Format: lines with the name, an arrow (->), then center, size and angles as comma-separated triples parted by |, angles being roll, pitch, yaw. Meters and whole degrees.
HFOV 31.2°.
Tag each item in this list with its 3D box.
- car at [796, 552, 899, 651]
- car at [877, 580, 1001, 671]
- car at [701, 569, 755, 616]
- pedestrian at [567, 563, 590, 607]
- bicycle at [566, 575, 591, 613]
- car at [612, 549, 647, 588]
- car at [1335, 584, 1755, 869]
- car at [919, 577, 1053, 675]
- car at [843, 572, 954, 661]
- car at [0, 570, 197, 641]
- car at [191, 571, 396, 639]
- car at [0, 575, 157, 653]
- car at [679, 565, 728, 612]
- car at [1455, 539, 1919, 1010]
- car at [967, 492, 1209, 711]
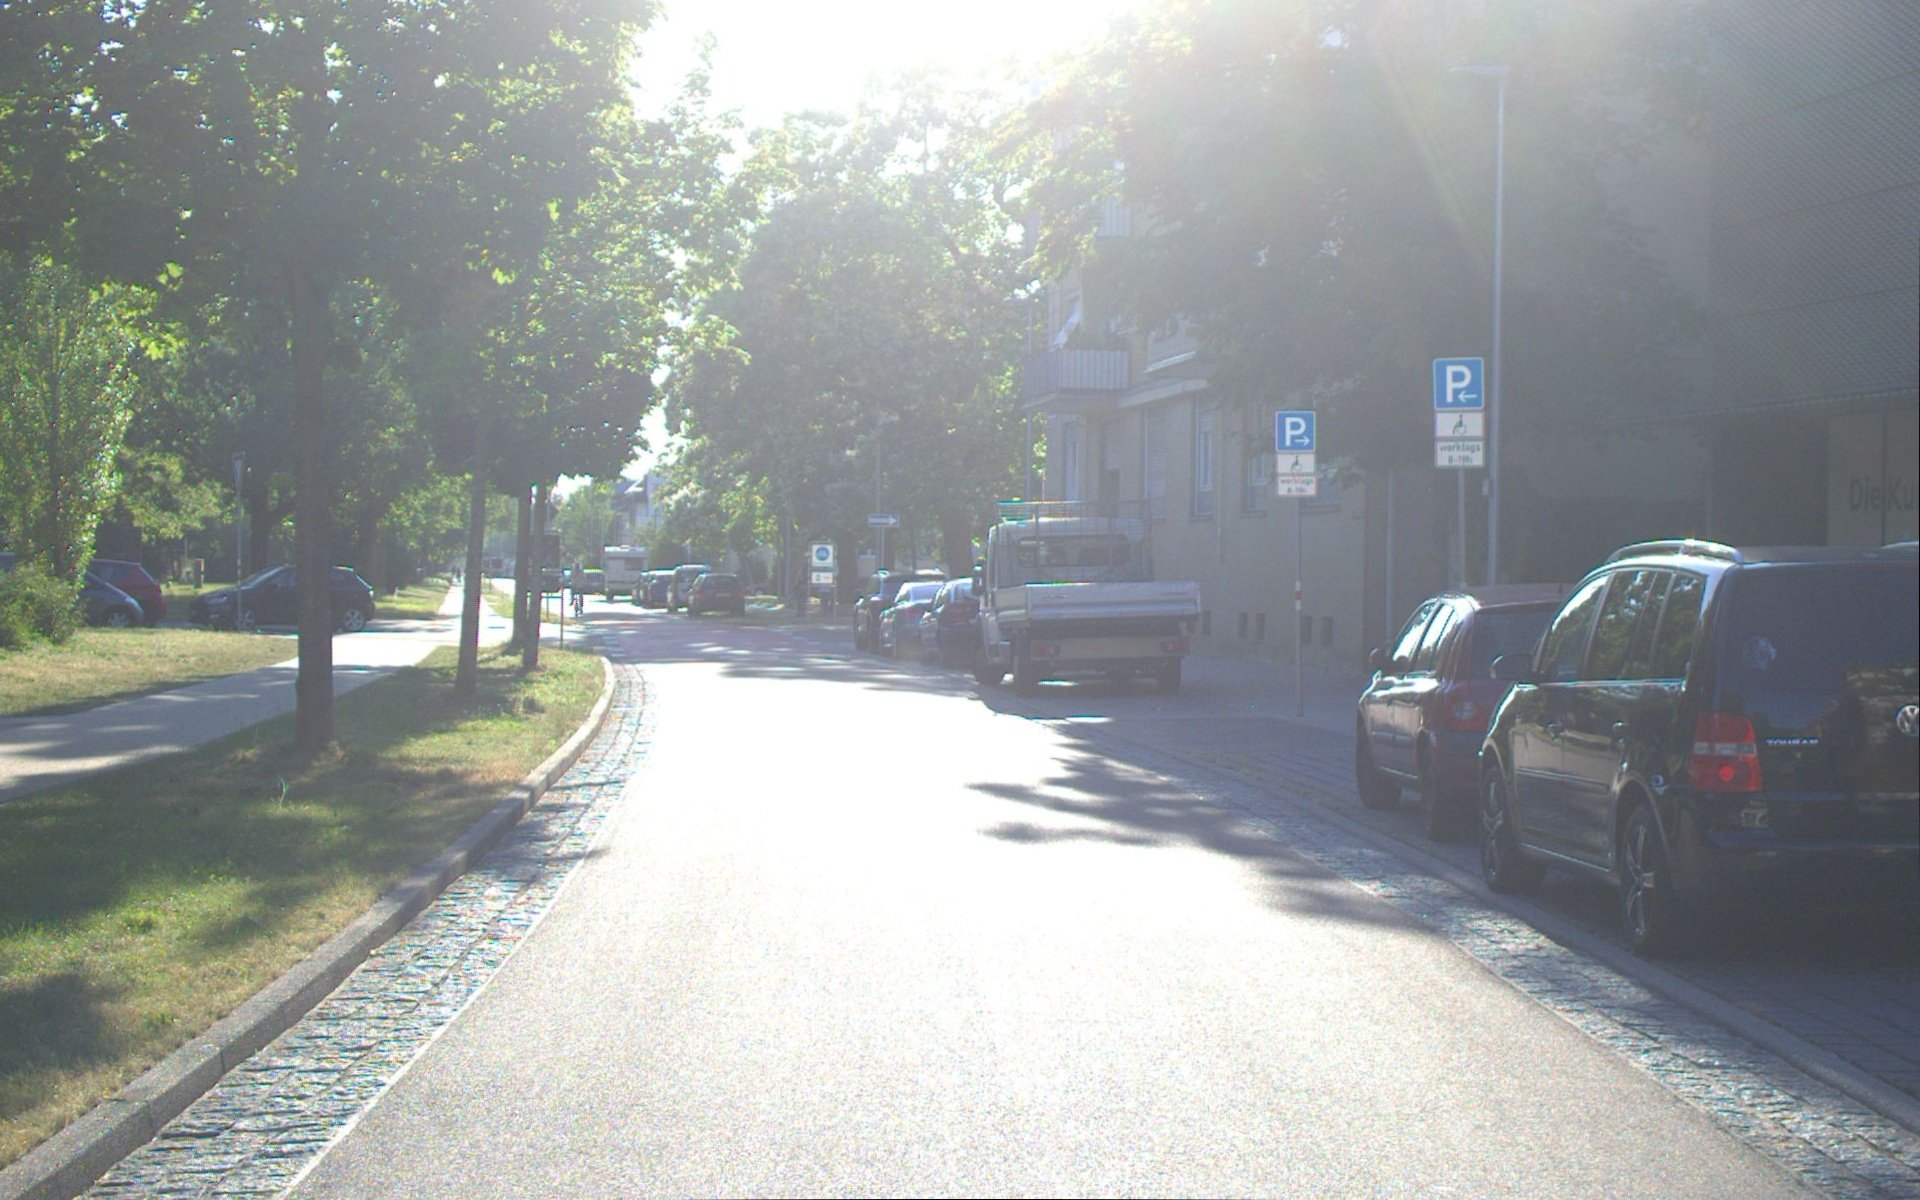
car -> -2.433, 0.009, 73.732 | 1.822, 2.007, 3.606 | 1, 1, -8
car -> -0.402, 0.422, 60.253 | 1.690, 1.435, 4.105 | -1, 2, -7
car -> -7.982, -0.262, 118.577 | 1.793, 1.504, 4.001 | 1, 1, -3
pedestrian -> -12.594, -0.506, 113.588 | 0.688, 1.429, 1.025 | 1, 1, -3
bicycle -> -12.591, -0.194, 113.548 | 0.688, 1.198, 2.343 | 1, 1, -3
car -> -17.725, -1.709, 184.374 | 1.793, 1.992, 4.001 | 0, 1, -5
car -> 3.374, 0.674, 20.514 | 1.724, 1.416, 3.907 | -1, 2, -2
car -> 0.382, 0.388, 54.991 | 1.690, 1.435, 3.551 | -1, 2, -7
car -> -1.221, 0.284, 66.223 | 1.690, 1.560, 4.105 | -1, 2, -7
car -> -18.200, 0.103, 72.199 | 3.912, 1.415, 1.772 | 0, 2, -29
car -> -14.398, 0.090, 74.299 | 3.987, 1.415, 1.772 | 0, 2, -33
car -> -17.548, 0.249, 65.535 | 3.987, 1.415, 1.772 | 0, 2, -32
car -> -9.890, -0.452, 132.358 | 1.793, 1.718, 4.001 | 0, 1, -5
car -> 3.418, 0.610, 14.820 | 1.724, 1.663, 4.115 | -1, 2, -3
car -> 1.523, -0.065, 43.738 | 2.211, 2.521, 6.149 | -2, 2, -5
